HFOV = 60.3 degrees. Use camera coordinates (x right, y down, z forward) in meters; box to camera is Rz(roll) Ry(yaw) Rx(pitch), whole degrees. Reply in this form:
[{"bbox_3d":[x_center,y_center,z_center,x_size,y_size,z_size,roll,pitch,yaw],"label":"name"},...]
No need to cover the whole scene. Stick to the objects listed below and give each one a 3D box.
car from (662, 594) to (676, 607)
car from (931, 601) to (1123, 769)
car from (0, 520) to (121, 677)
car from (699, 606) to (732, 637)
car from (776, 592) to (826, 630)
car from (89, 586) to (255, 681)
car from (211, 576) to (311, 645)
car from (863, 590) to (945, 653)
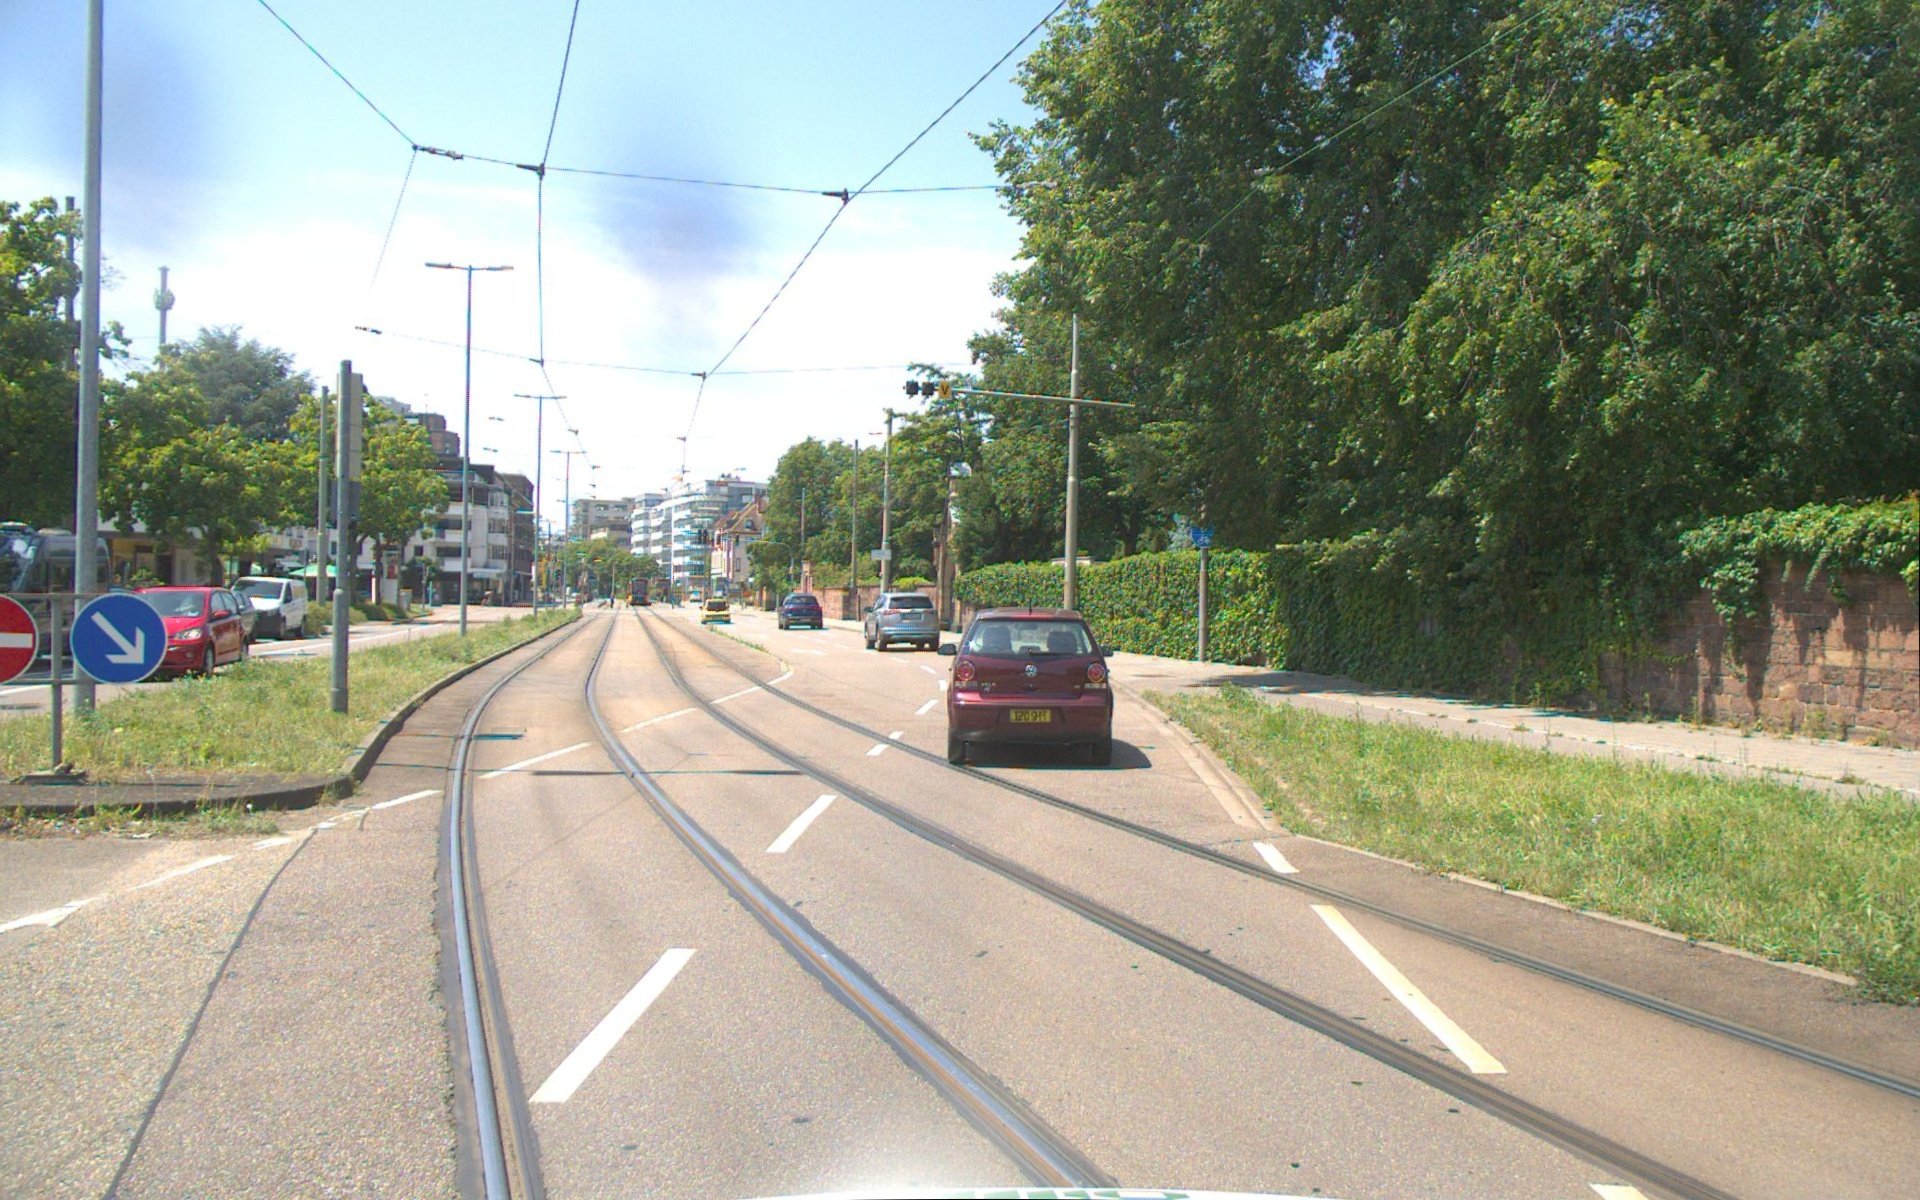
[{"bbox_3d":[-30.886,0.067,175.434,1.330,1.274,2.964,2,0,-11],"label":"car"},{"bbox_3d":[0.584,0.773,17.134,1.578,1.524,3.997,0,0,-4],"label":"car"},{"bbox_3d":[-18.215,-0.124,31.358,2.356,2.702,6.155,4,-1,-12],"label":"car"},{"bbox_3d":[-14.655,1.287,99.023,1.763,1.712,3.989,2,0,-11],"label":"car"},{"bbox_3d":[-7.532,0.503,78.068,1.744,1.659,3.985,2,0,-14],"label":"car"},{"bbox_3d":[-12.766,0.497,27.011,1.628,1.434,3.595,0,0,-12],"label":"car"},{"bbox_3d":[-22.518,0.313,53.502,1.842,1.999,5.150,4,-1,-11],"label":"car"},{"bbox_3d":[-1.687,0.609,48.603,1.763,1.712,3.989,2,0,-11],"label":"car"}]
